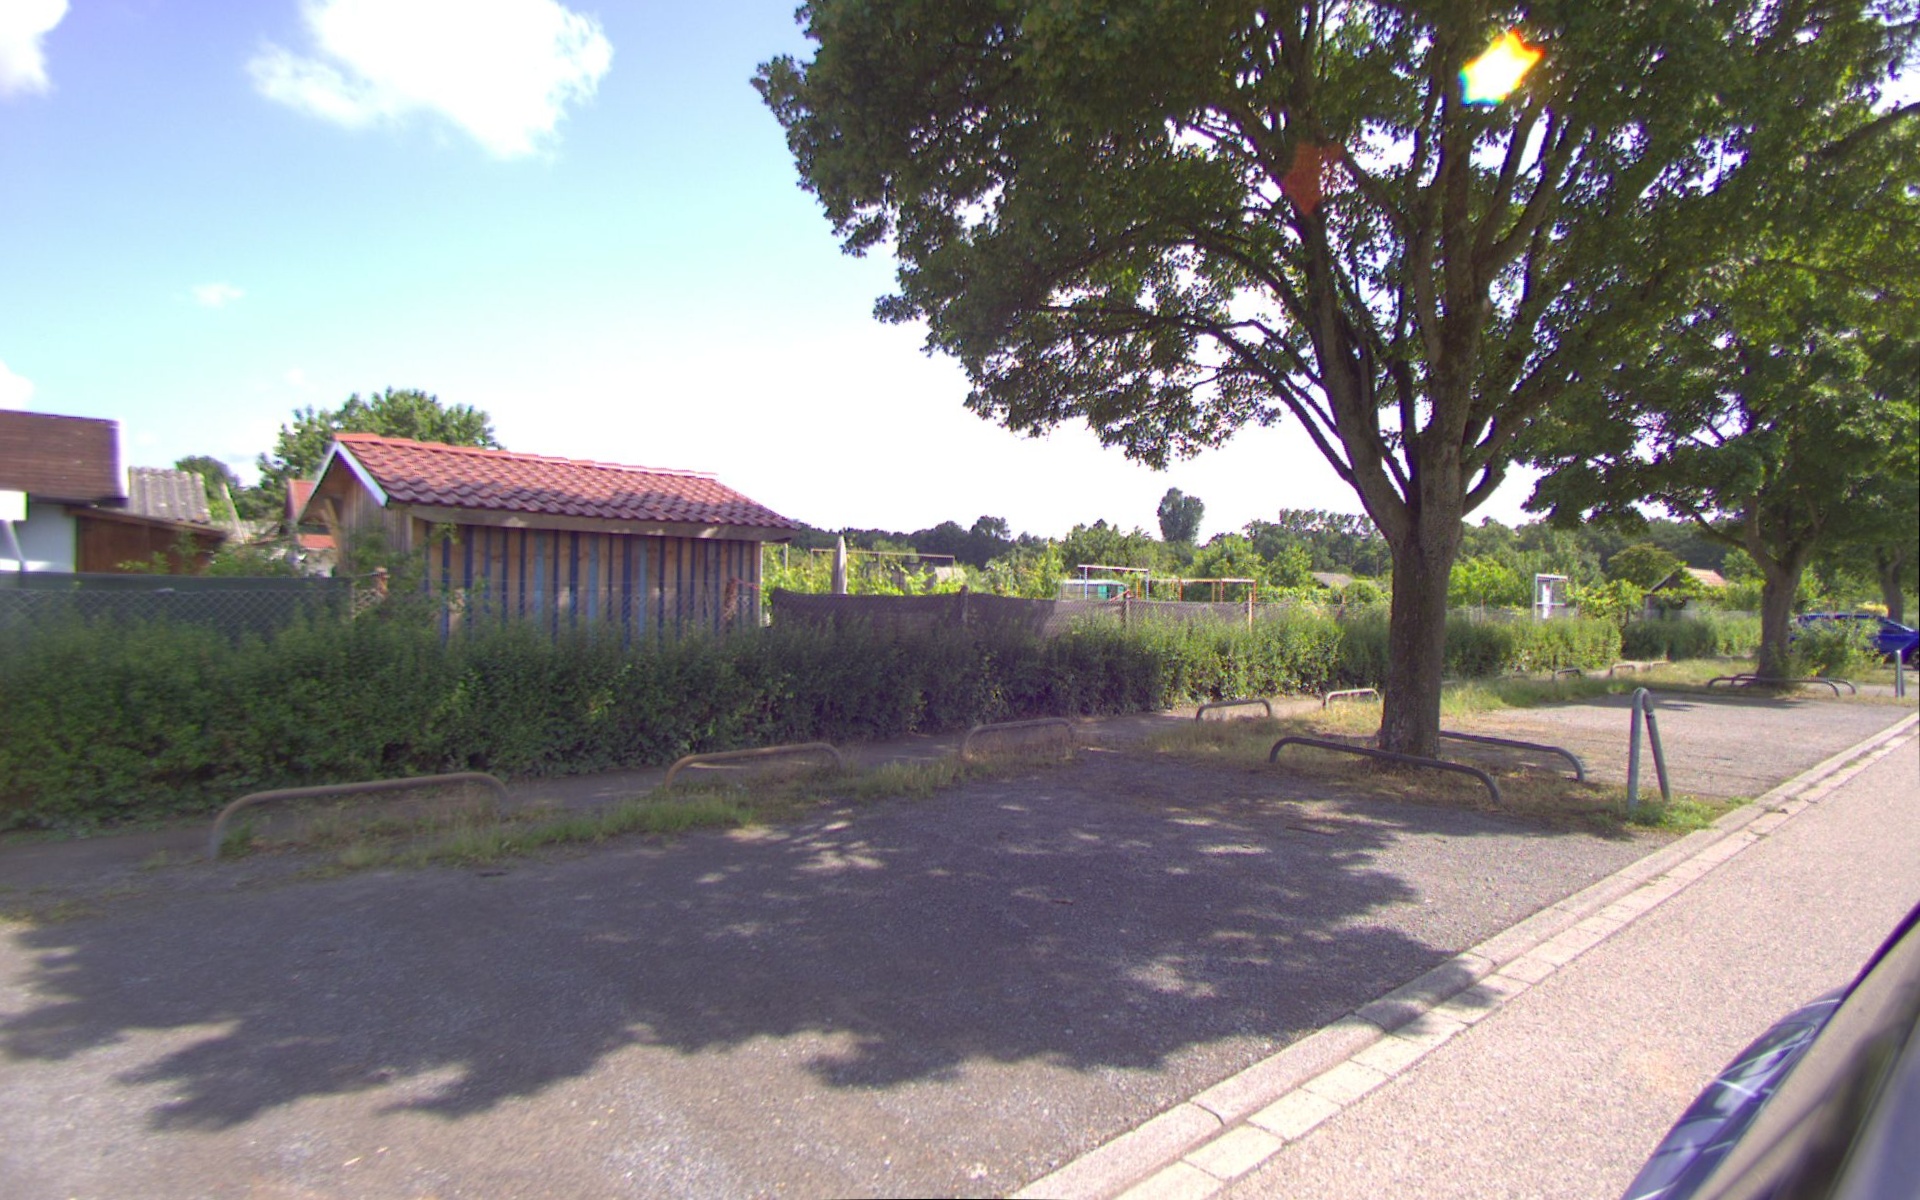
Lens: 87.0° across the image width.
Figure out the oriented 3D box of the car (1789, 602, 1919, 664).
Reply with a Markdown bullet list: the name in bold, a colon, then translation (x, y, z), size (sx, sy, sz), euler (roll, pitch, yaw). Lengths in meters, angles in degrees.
- **car**: translation (26.312, 0.923, 28.709), size (1.750, 1.602, 4.111), euler (1, 1, -42)
